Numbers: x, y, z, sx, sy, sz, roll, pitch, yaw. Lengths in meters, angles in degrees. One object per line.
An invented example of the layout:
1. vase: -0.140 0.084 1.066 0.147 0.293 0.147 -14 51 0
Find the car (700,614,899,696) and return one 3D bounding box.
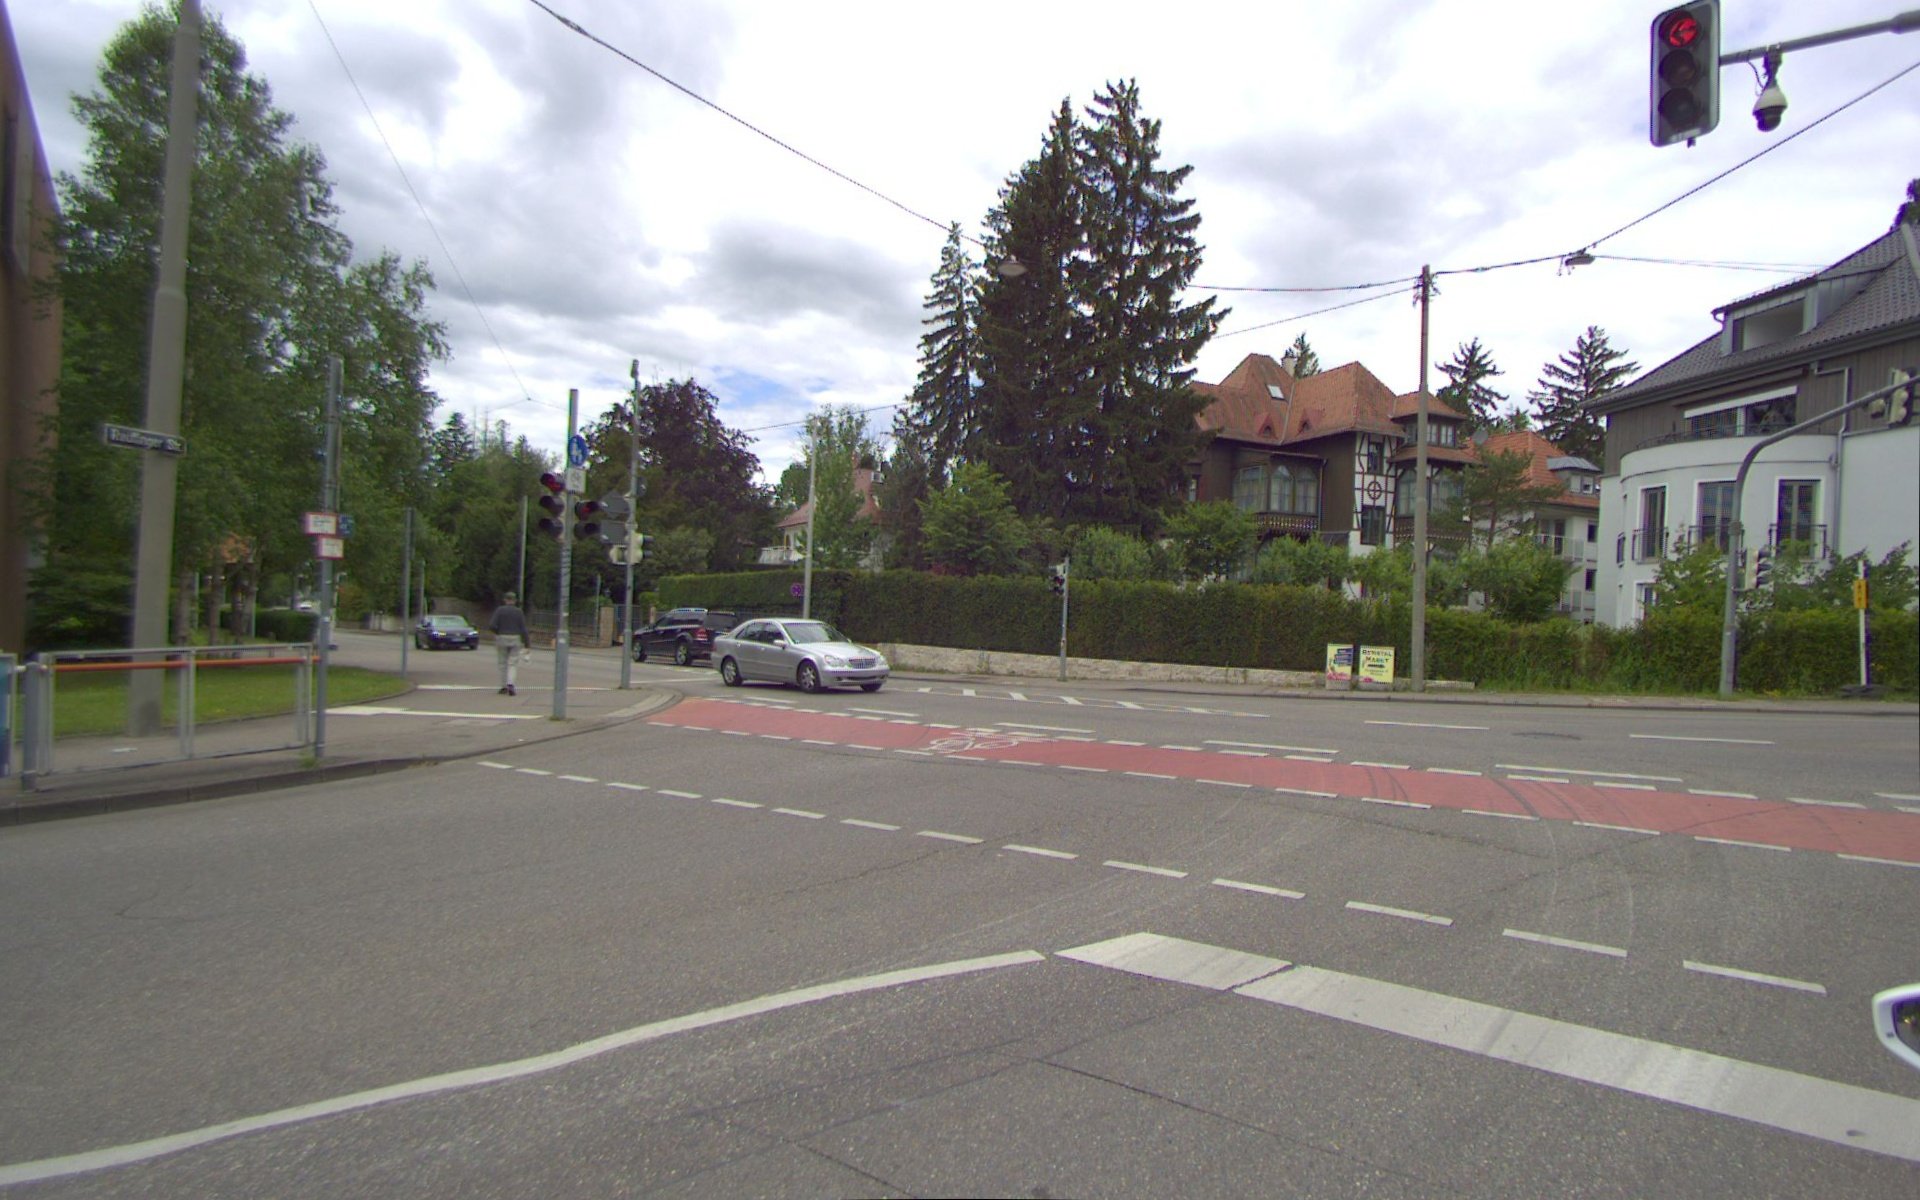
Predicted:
1. car: -3.351 1.034 20.458 4.363 1.432 1.700 1 0 43

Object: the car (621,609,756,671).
1. car: -9.175 1.298 33.753 5.067 1.905 1.909 0 -2 42

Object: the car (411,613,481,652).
1. car: -21.777 1.342 42.495 1.816 1.556 3.955 2 -2 -39

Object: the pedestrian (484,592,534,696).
1. pedestrian: -7.401 0.709 16.474 0.675 1.655 0.734 0 -1 -30
